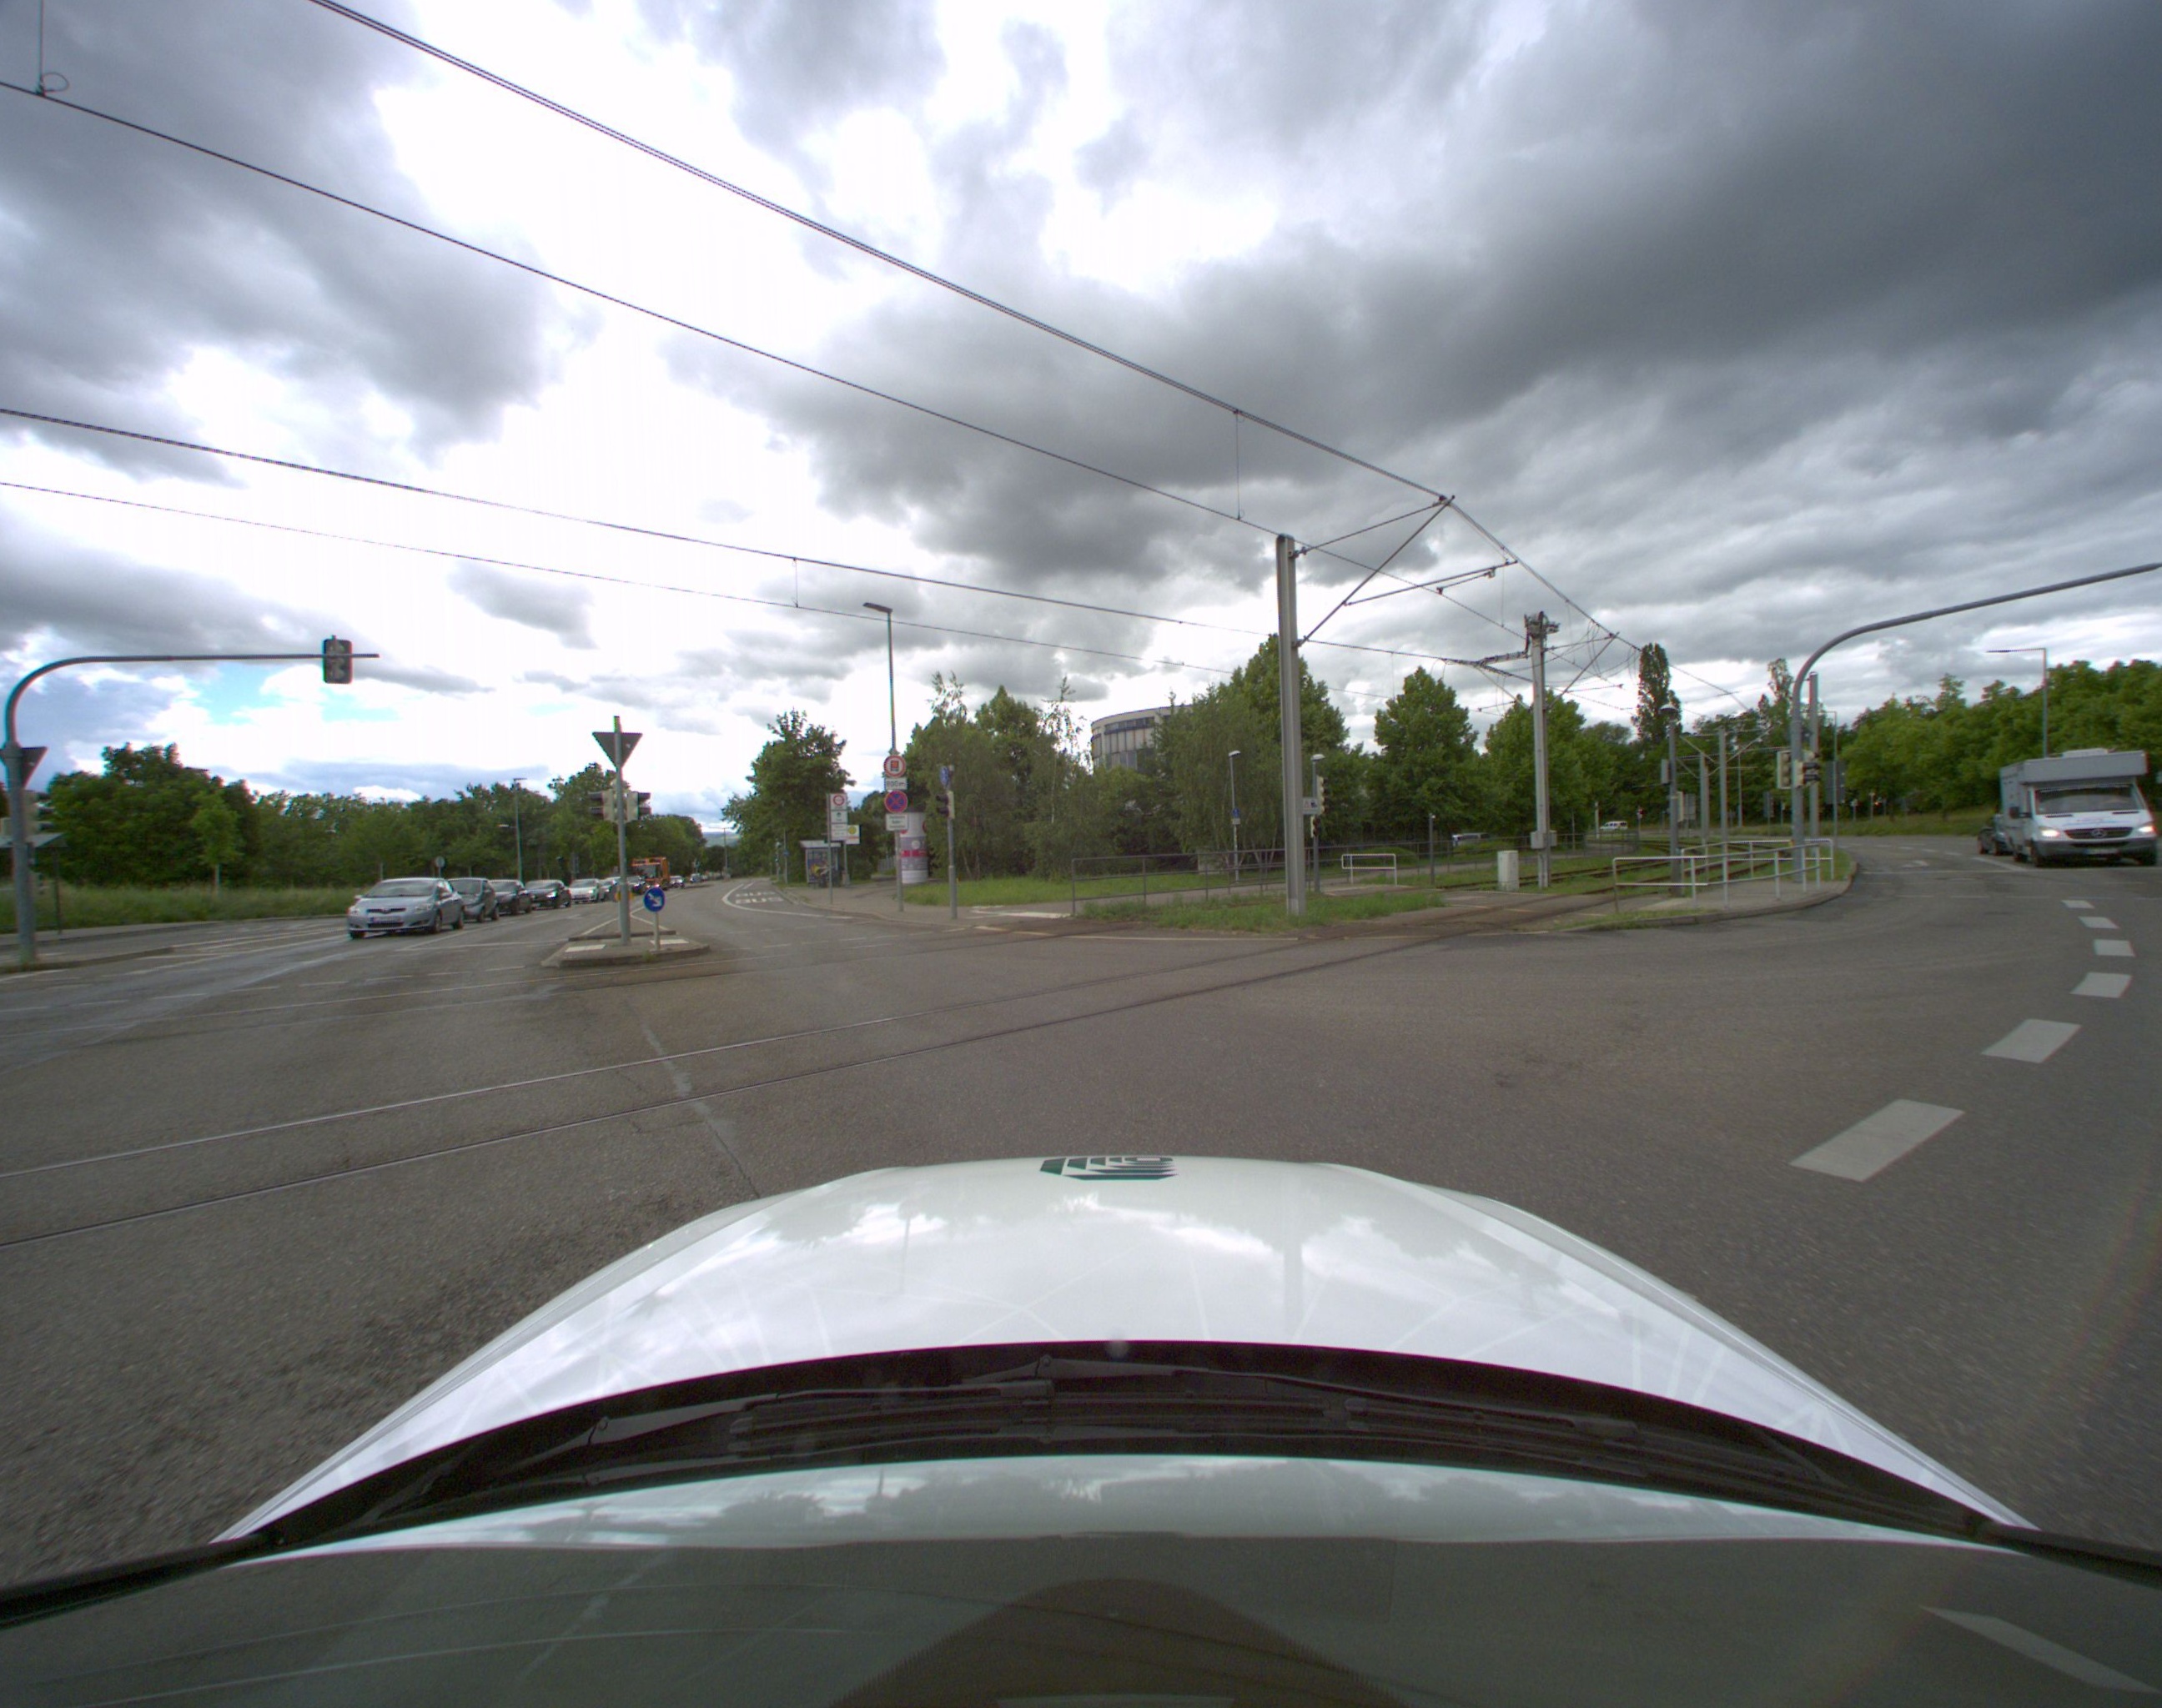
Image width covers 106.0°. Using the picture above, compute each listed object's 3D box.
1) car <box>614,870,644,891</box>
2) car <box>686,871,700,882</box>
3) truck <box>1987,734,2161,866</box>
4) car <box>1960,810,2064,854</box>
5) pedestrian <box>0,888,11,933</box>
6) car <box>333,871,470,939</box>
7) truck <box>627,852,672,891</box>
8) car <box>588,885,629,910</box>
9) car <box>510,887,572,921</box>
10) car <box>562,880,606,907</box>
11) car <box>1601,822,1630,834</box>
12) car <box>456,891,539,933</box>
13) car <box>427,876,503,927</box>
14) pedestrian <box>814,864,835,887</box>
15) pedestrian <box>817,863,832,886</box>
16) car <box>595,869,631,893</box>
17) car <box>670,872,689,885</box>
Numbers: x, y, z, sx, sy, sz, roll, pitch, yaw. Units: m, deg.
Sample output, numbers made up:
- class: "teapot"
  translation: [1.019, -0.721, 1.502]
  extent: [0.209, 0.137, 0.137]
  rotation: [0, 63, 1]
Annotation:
- class: "car"
  translation: [-37.435, 2.174, 67.559]
  extent: [1.646, 1.585, 4.030]
  rotation: [-3, 0, -22]
- class: "car"
  translation: [-71.580, 4.199, 150.263]
  extent: [1.855, 1.803, 4.614]
  rotation: [-6, 1, -23]
- class: "truck"
  translation: [27.140, -1.375, 22.434]
  extent: [2.084, 3.011, 6.312]
  rotation: [-6, -3, 43]
- class: "car"
  translation: [33.273, -0.789, 29.226]
  extent: [1.974, 1.398, 4.025]
  rotation: [-3, 0, 42]
- class: "pedestrian"
  translation: [-29.700, 1.556, 21.997]
  extent: [0.777, 1.227, 0.545]
  rotation: [-3, 0, -31]
- class: "car"
  translation: [-18.247, 1.290, 22.102]
  extent: [1.837, 1.535, 4.183]
  rotation: [-3, 0, -26]
- class: "truck"
  translation: [-42.863, 1.691, 81.155]
  extent: [2.717, 3.487, 9.921]
  rotation: [-3, 0, -22]
- class: "car"
  translation: [-31.570, 2.877, 54.525]
  extent: [1.646, 1.390, 4.848]
  rotation: [-3, 0, -22]
- class: "car"
  translation: [-25.804, 2.335, 39.056]
  extent: [1.646, 1.332, 4.030]
  rotation: [-3, 0, -22]
- class: "car"
  translation: [-29.778, 2.324, 48.906]
  extent: [1.646, 1.390, 3.734]
  rotation: [-3, 0, -22]
- class: "car"
  translation: [85.672, -4.098, 130.497]
  extent: [1.991, 1.728, 3.719]
  rotation: [-2, 1, -6]
- class: "car"
  translation: [-23.618, 2.295, 33.123]
  extent: [1.808, 1.332, 4.345]
  rotation: [-3, 0, -24]
- class: "car"
  translation: [-21.136, 1.589, 28.032]
  extent: [1.435, 1.526, 2.752]
  rotation: [-3, 0, -25]
- class: "pedestrian"
  translation: [-14.743, 1.227, 46.833]
  extent: [0.763, 1.252, 0.780]
  rotation: [-2, 0, 26]
- class: "pedestrian"
  translation: [-15.150, 1.205, 48.121]
  extent: [0.731, 1.316, 0.585]
  rotation: [-2, 0, -21]
- class: "car"
  translation: [-34.806, 1.967, 60.680]
  extent: [1.738, 1.585, 4.191]
  rotation: [-3, 0, -22]
- class: "car"
  translation: [-51.466, 3.124, 104.515]
  extent: [1.855, 1.520, 4.778]
  rotation: [-6, 1, -23]
